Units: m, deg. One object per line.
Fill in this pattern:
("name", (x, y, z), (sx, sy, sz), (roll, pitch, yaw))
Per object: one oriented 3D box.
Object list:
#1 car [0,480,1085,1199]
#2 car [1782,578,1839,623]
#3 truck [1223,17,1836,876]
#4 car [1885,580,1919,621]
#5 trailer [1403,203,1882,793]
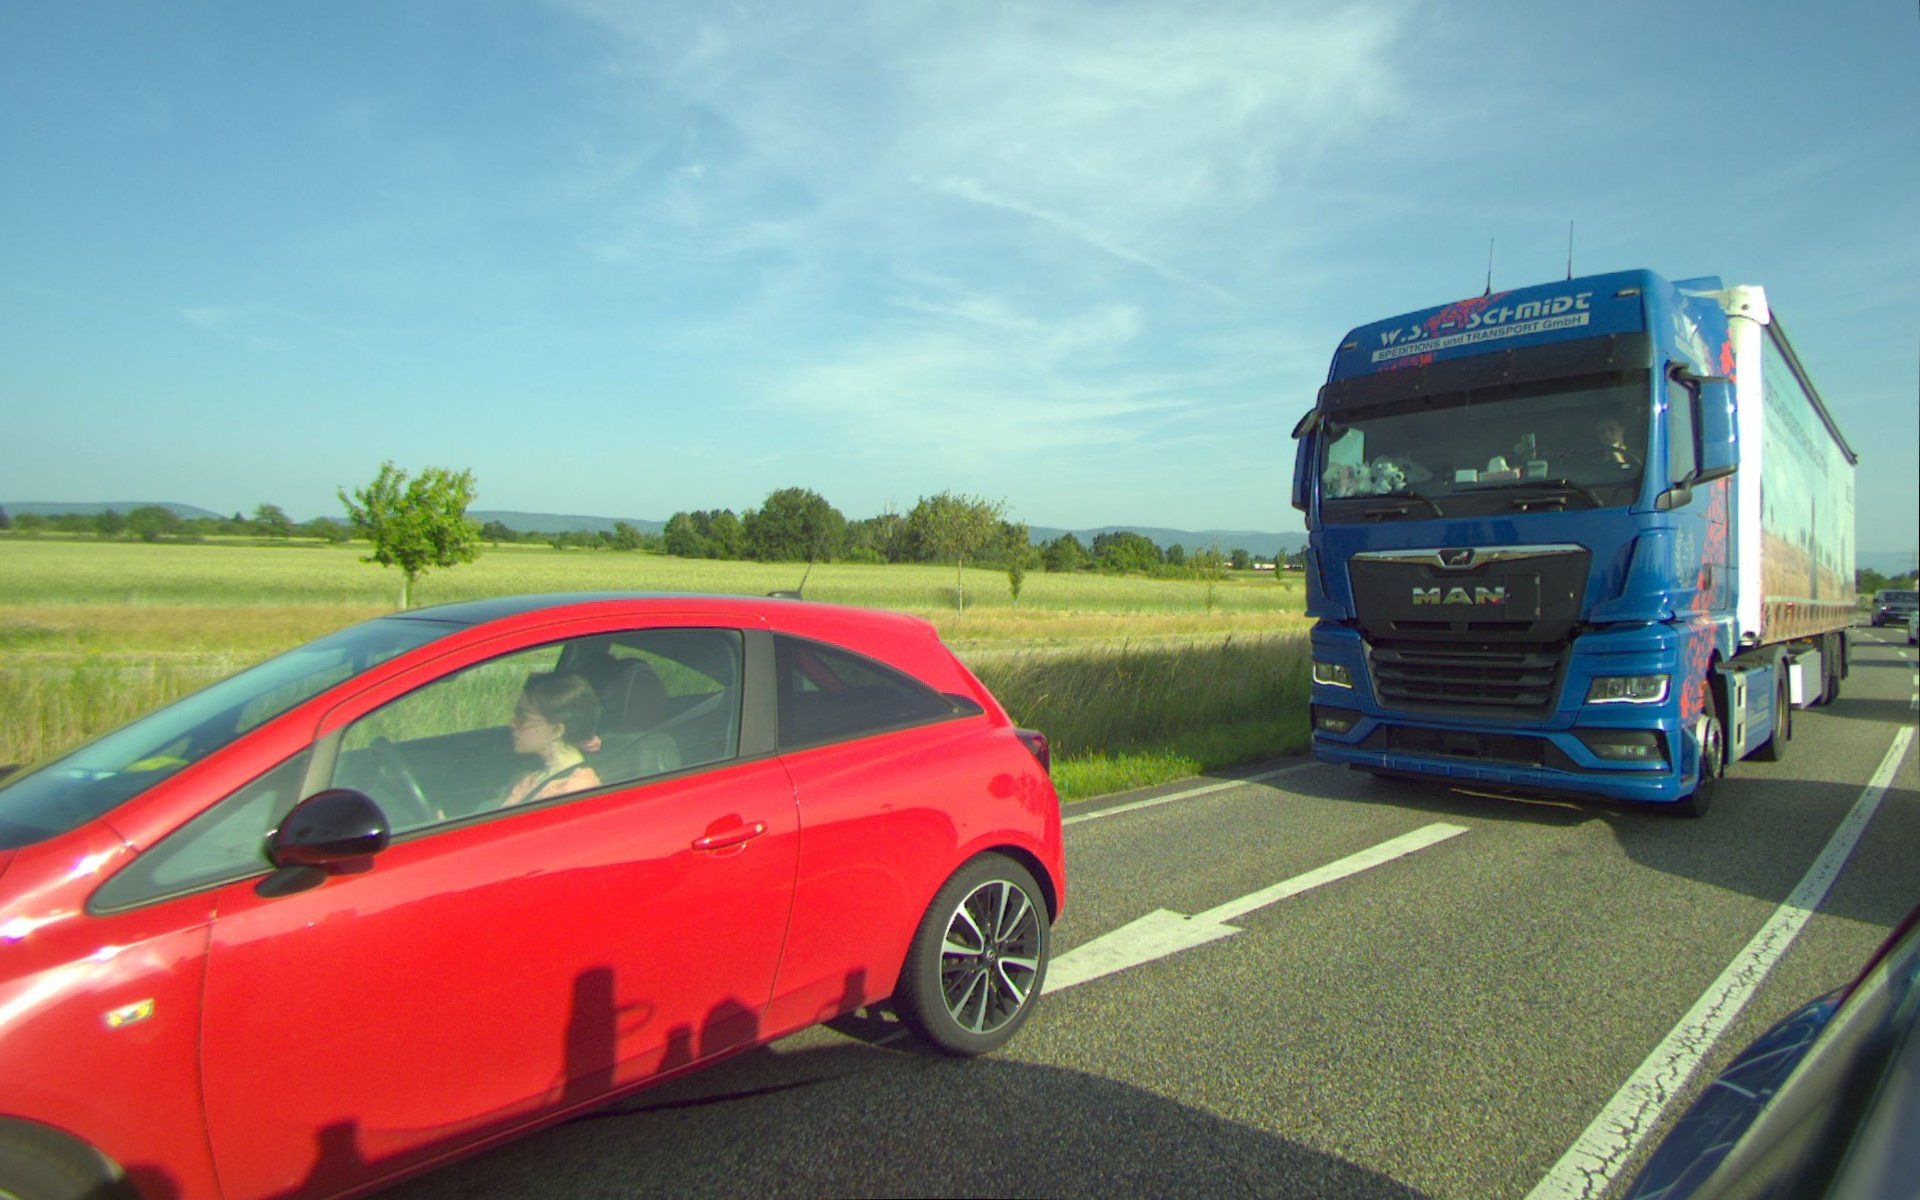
("car", (-1.471, 0.565, 2.868), (3.689, 1.568, 1.698), (0, 2, -44))
("car", (40.807, -0.006, 48.589), (1.991, 2.039, 3.942), (1, 1, 40))
("truck", (5.178, -0.887, 8.750), (3.301, 4.716, 5.640), (0, 1, 44))
("car", (47.393, 0.021, 50.564), (1.551, 1.944, 3.977), (2, 1, 40))
("trailer", (10.241, -0.946, 13.959), (3.282, 4.739, 12.939), (0, 1, 44))
